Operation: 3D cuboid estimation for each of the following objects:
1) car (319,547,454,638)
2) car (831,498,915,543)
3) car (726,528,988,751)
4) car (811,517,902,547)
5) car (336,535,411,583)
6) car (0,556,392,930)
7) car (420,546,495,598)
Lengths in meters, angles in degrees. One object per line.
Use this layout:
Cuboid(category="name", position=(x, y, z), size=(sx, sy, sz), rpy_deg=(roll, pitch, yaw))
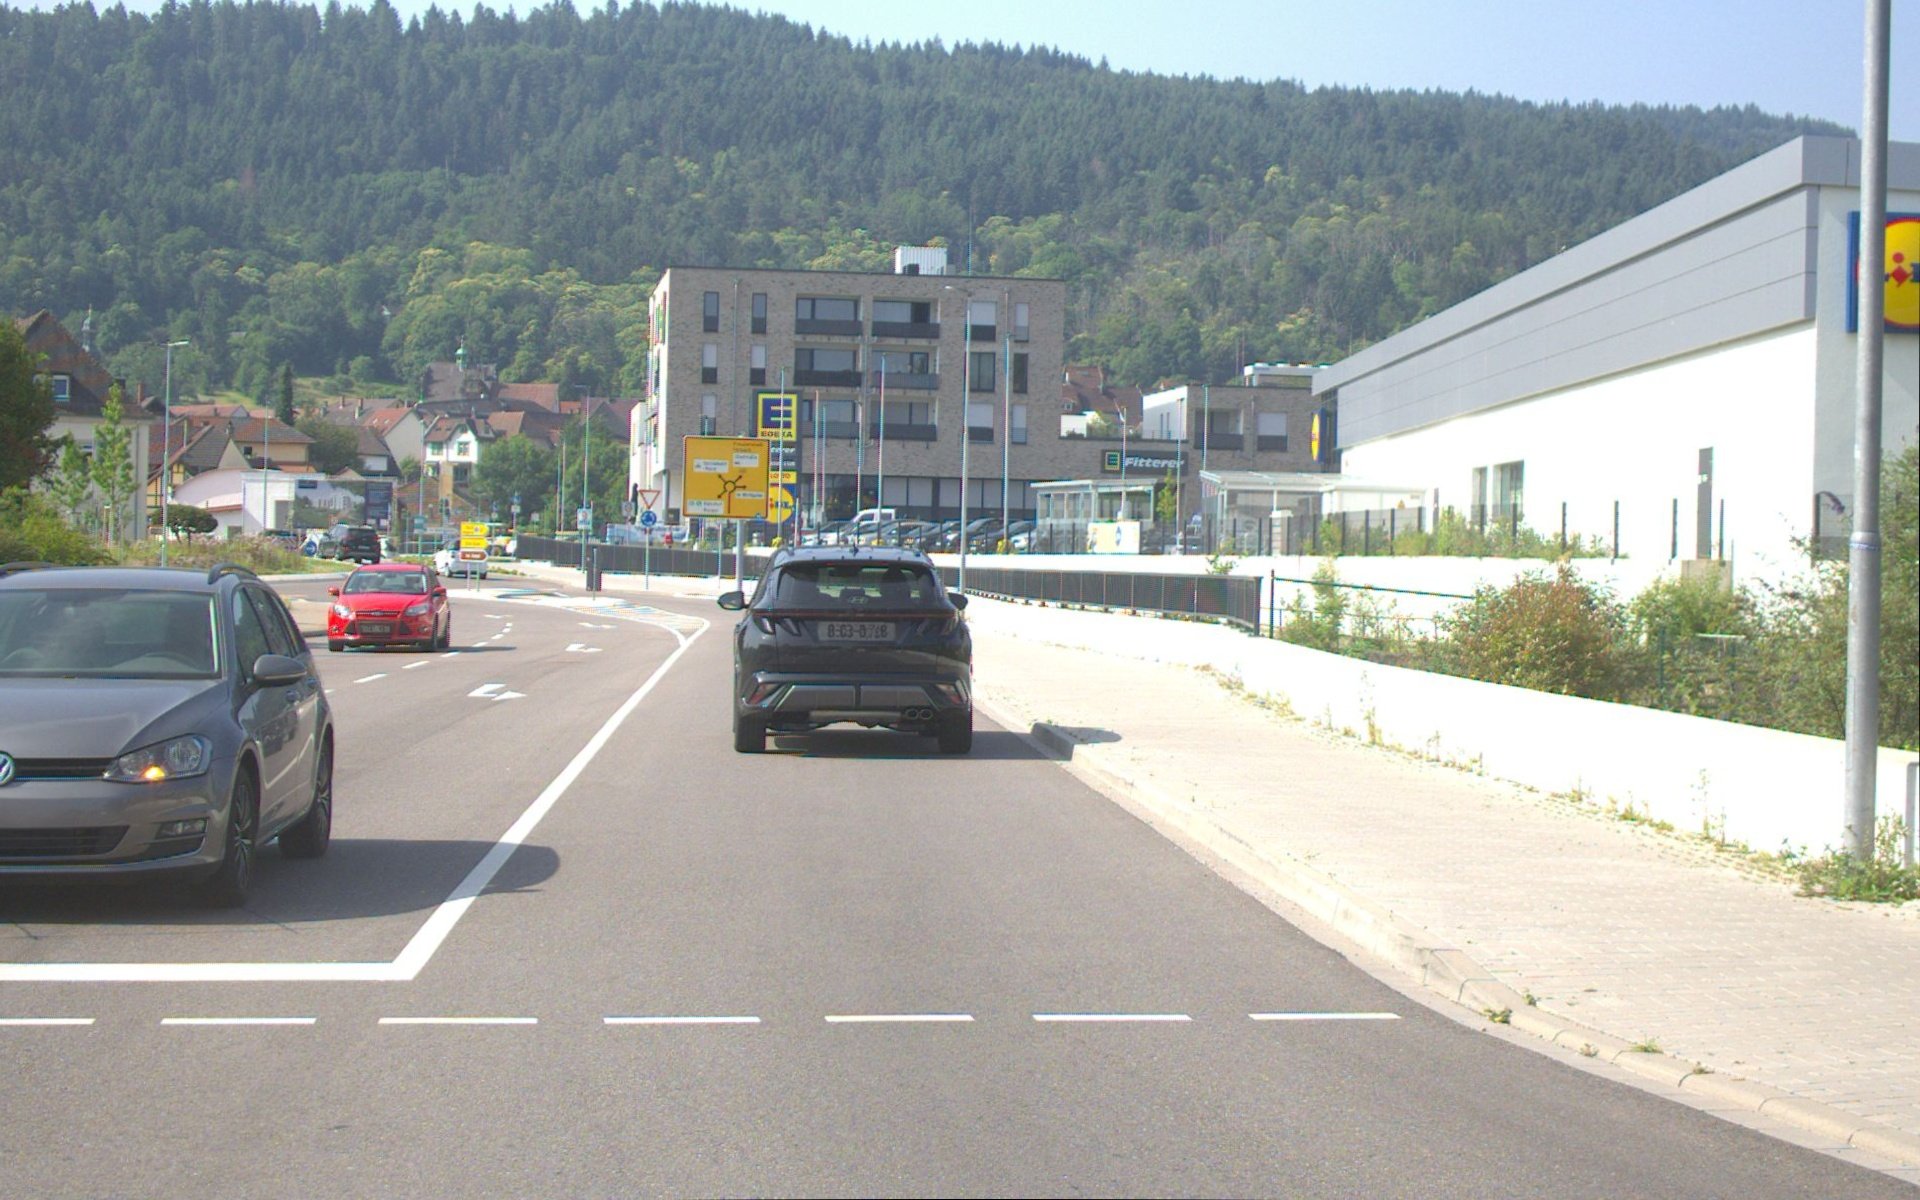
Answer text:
Cuboid(category="car", position=(-9.836, -0.140, 59.205), size=(1.837, 1.487, 4.432), rpy_deg=(1, 0, -4))
Cuboid(category="car", position=(-4.185, -3.828, 165.691), size=(3.987, 2.128, 2.000), rpy_deg=(1, 0, 0))
Cuboid(category="car", position=(-0.772, 0.282, 28.196), size=(1.881, 1.678, 4.000), rpy_deg=(1, 0, 2))
Cuboid(category="car", position=(-4.508, -2.959, 149.909), size=(3.554, 1.195, 1.715), rpy_deg=(1, 1, -21))
Cuboid(category="car", position=(-25.290, -1.761, 148.369), size=(1.994, 2.007, 3.999), rpy_deg=(1, 0, 9))
Cuboid(category="car", position=(-3.880, 0.542, 15.707), size=(1.772, 1.468, 4.219), rpy_deg=(1, 0, 1))
Cuboid(category="car", position=(-19.912, -1.118, 136.160), size=(1.993, 2.007, 4.001), rpy_deg=(1, 0, -22))
